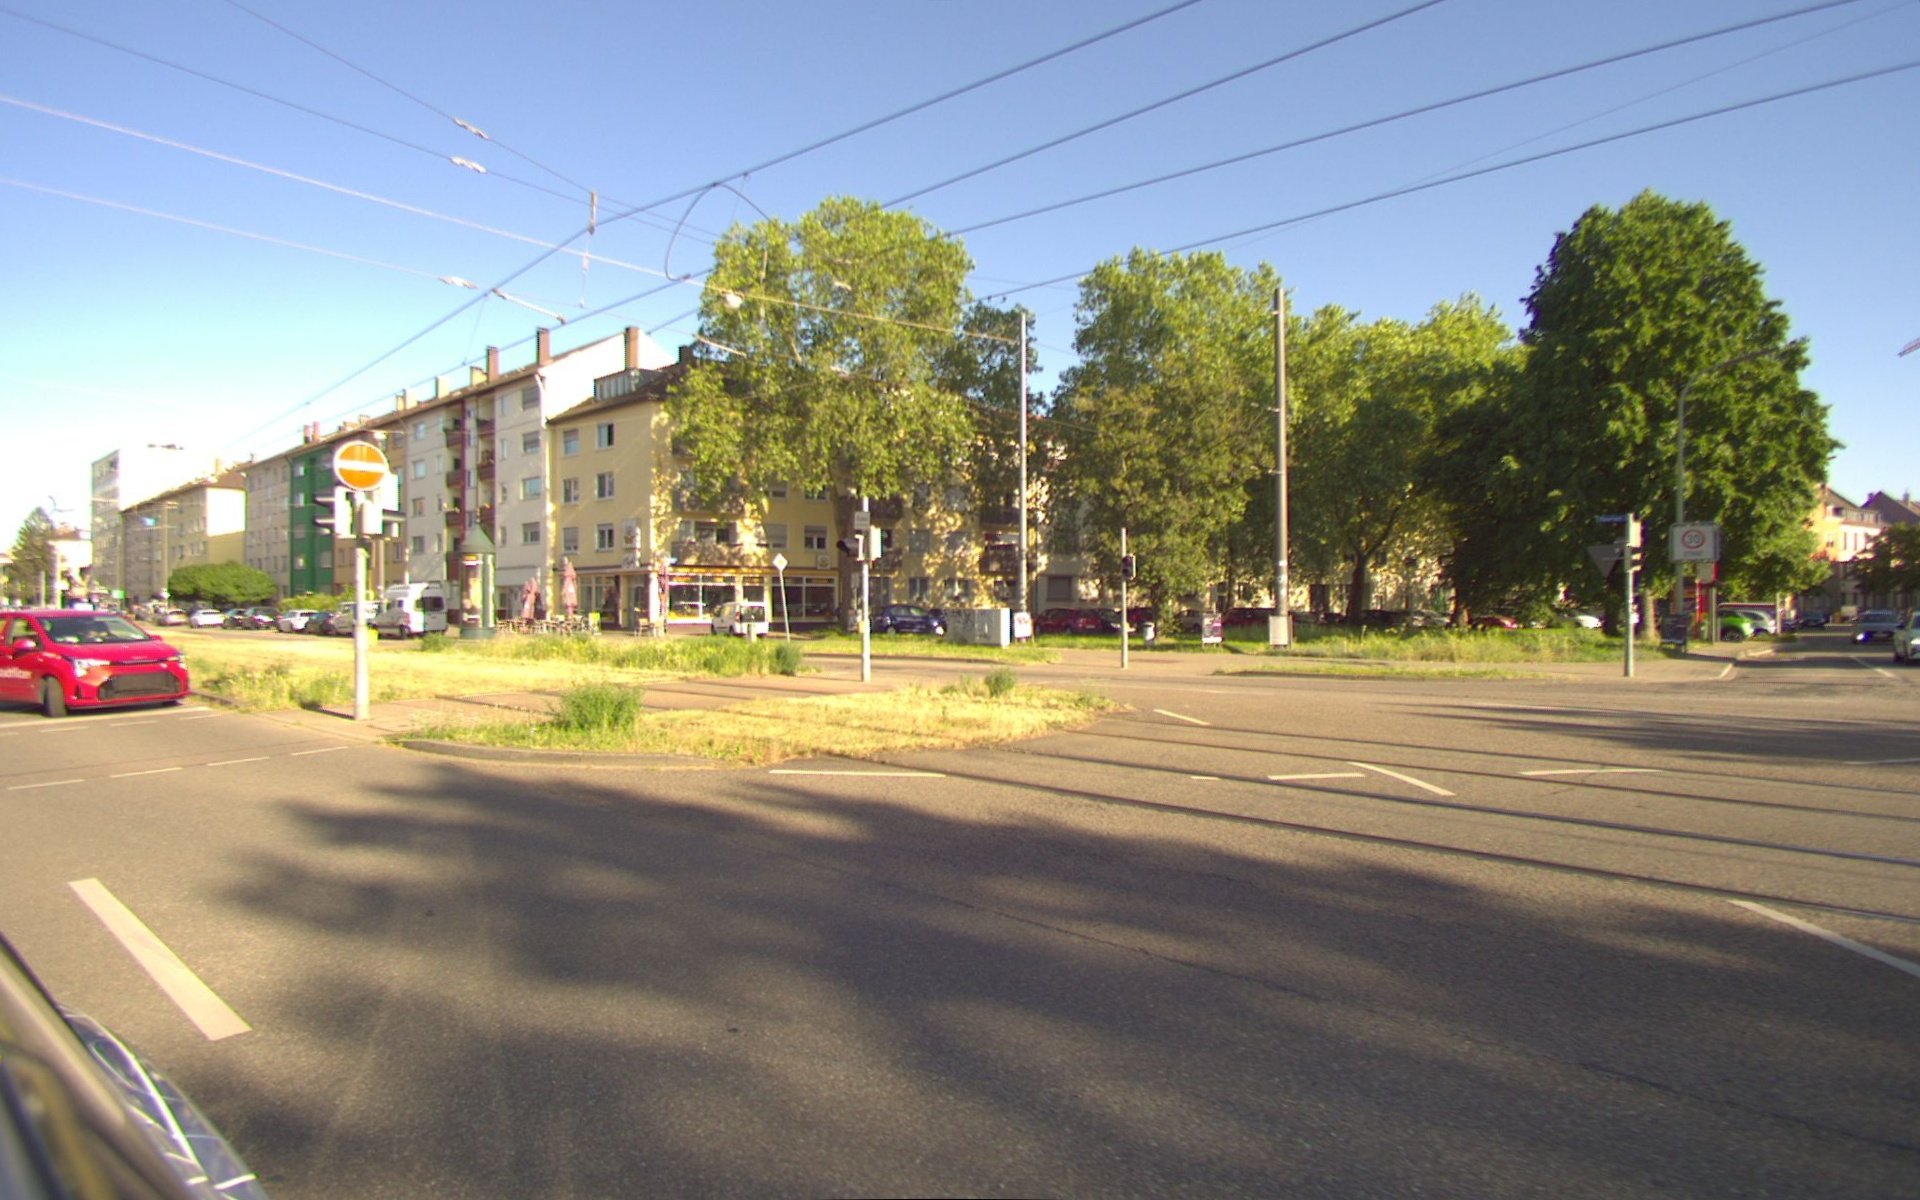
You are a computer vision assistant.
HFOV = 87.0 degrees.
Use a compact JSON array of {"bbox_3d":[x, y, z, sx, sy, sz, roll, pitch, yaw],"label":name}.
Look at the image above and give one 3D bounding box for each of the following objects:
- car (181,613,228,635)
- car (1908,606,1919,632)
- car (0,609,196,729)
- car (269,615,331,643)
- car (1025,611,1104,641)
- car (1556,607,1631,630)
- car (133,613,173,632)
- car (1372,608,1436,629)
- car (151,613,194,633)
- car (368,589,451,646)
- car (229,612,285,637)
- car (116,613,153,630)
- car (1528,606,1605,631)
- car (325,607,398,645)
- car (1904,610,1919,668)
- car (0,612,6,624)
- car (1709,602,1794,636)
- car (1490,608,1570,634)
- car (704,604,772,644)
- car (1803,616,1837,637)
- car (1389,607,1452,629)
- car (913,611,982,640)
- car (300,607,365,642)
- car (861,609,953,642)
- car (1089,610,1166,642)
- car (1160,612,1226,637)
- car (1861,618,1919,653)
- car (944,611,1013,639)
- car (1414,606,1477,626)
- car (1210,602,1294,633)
[{"bbox_3d":[-61.555,1.905,82.414,5.444,1.720,2.116,-1,-1,42],"label":"car"},{"bbox_3d":[77.222,1.493,80.818,1.999,2.045,4.466,-1,-1,41],"label":"car"},{"bbox_3d":[-13.152,0.931,14.786,3.578,1.542,1.533,0,1,22],"label":"car"},{"bbox_3d":[-42.659,1.865,65.371,5.156,1.720,2.116,-1,-1,42],"label":"car"},{"bbox_3d":[4.849,1.189,47.438,1.616,1.318,4.012,1,-1,-31],"label":"car"},{"bbox_3d":[43.980,1.261,70.357,1.966,1.564,3.946,0,-1,-30],"label":"car"},{"bbox_3d":[-76.271,2.120,95.614,5.401,1.720,2.116,-1,-1,42],"label":"car"},{"bbox_3d":[33.329,1.391,75.979,1.967,1.564,3.943,0,-1,-37],"label":"car"},{"bbox_3d":[-71.260,2.046,91.537,5.401,1.720,2.116,-1,-1,42],"label":"car"},{"bbox_3d":[-28.694,0.894,52.703,5.228,2.846,2.201,-1,-1,42],"label":"car"},{"bbox_3d":[-50.134,1.739,72.093,5.444,1.720,2.116,-1,-1,42],"label":"car"},{"bbox_3d":[-82.630,2.123,101.300,5.401,1.720,2.116,-1,-1,42],"label":"car"},{"bbox_3d":[40.404,1.218,67.464,1.967,1.564,3.943,0,-1,-37],"label":"car"},{"bbox_3d":[-34.032,1.457,57.490,5.156,2.049,2.116,-1,-1,42],"label":"car"},{"bbox_3d":[26.752,1.002,27.081,1.999,1.497,4.466,-1,-1,41],"label":"car"},{"bbox_3d":[-137.817,2.554,144.388,5.401,1.720,2.116,-1,-1,42],"label":"car"},{"bbox_3d":[48.476,1.156,62.020,3.998,2.029,1.973,-1,0,41],"label":"car"},{"bbox_3d":[35.663,1.297,63.383,1.967,1.564,3.943,0,-1,-37],"label":"car"},{"bbox_3d":[-11.217,1.188,50.975,1.881,1.896,4.009,0,-1,-37],"label":"car"},{"bbox_3d":[68.655,2.088,80.795,1.999,1.567,4.466,-1,-1,41],"label":"car"},{"bbox_3d":[35.164,1.361,77.391,1.967,1.564,3.943,0,-1,-37],"label":"car"},{"bbox_3d":[-0.720,1.428,57.232,1.967,1.564,3.943,0,-1,-37],"label":"car"},{"bbox_3d":[-38.214,1.439,61.610,4.863,2.049,2.116,-1,-1,42],"label":"car"},{"bbox_3d":[-2.481,1.176,47.319,3.930,1.448,1.723,1,-1,-26],"label":"car"},{"bbox_3d":[9.235,1.406,56.003,1.967,1.718,3.943,0,-1,-37],"label":"car"},{"bbox_3d":[15.309,1.590,66.598,1.967,1.564,3.943,0,-1,-37],"label":"car"},{"bbox_3d":[42.636,1.586,46.333,1.999,1.473,4.466,-1,-1,41],"label":"car"},{"bbox_3d":[1.027,1.399,58.589,1.967,1.564,3.943,0,-1,-37],"label":"car"},{"bbox_3d":[37.908,1.250,79.085,1.967,1.564,3.943,0,-1,-37],"label":"car"},{"bbox_3d":[15.501,0.930,53.879,1.967,1.564,3.943,0,-1,-37],"label":"car"}]
